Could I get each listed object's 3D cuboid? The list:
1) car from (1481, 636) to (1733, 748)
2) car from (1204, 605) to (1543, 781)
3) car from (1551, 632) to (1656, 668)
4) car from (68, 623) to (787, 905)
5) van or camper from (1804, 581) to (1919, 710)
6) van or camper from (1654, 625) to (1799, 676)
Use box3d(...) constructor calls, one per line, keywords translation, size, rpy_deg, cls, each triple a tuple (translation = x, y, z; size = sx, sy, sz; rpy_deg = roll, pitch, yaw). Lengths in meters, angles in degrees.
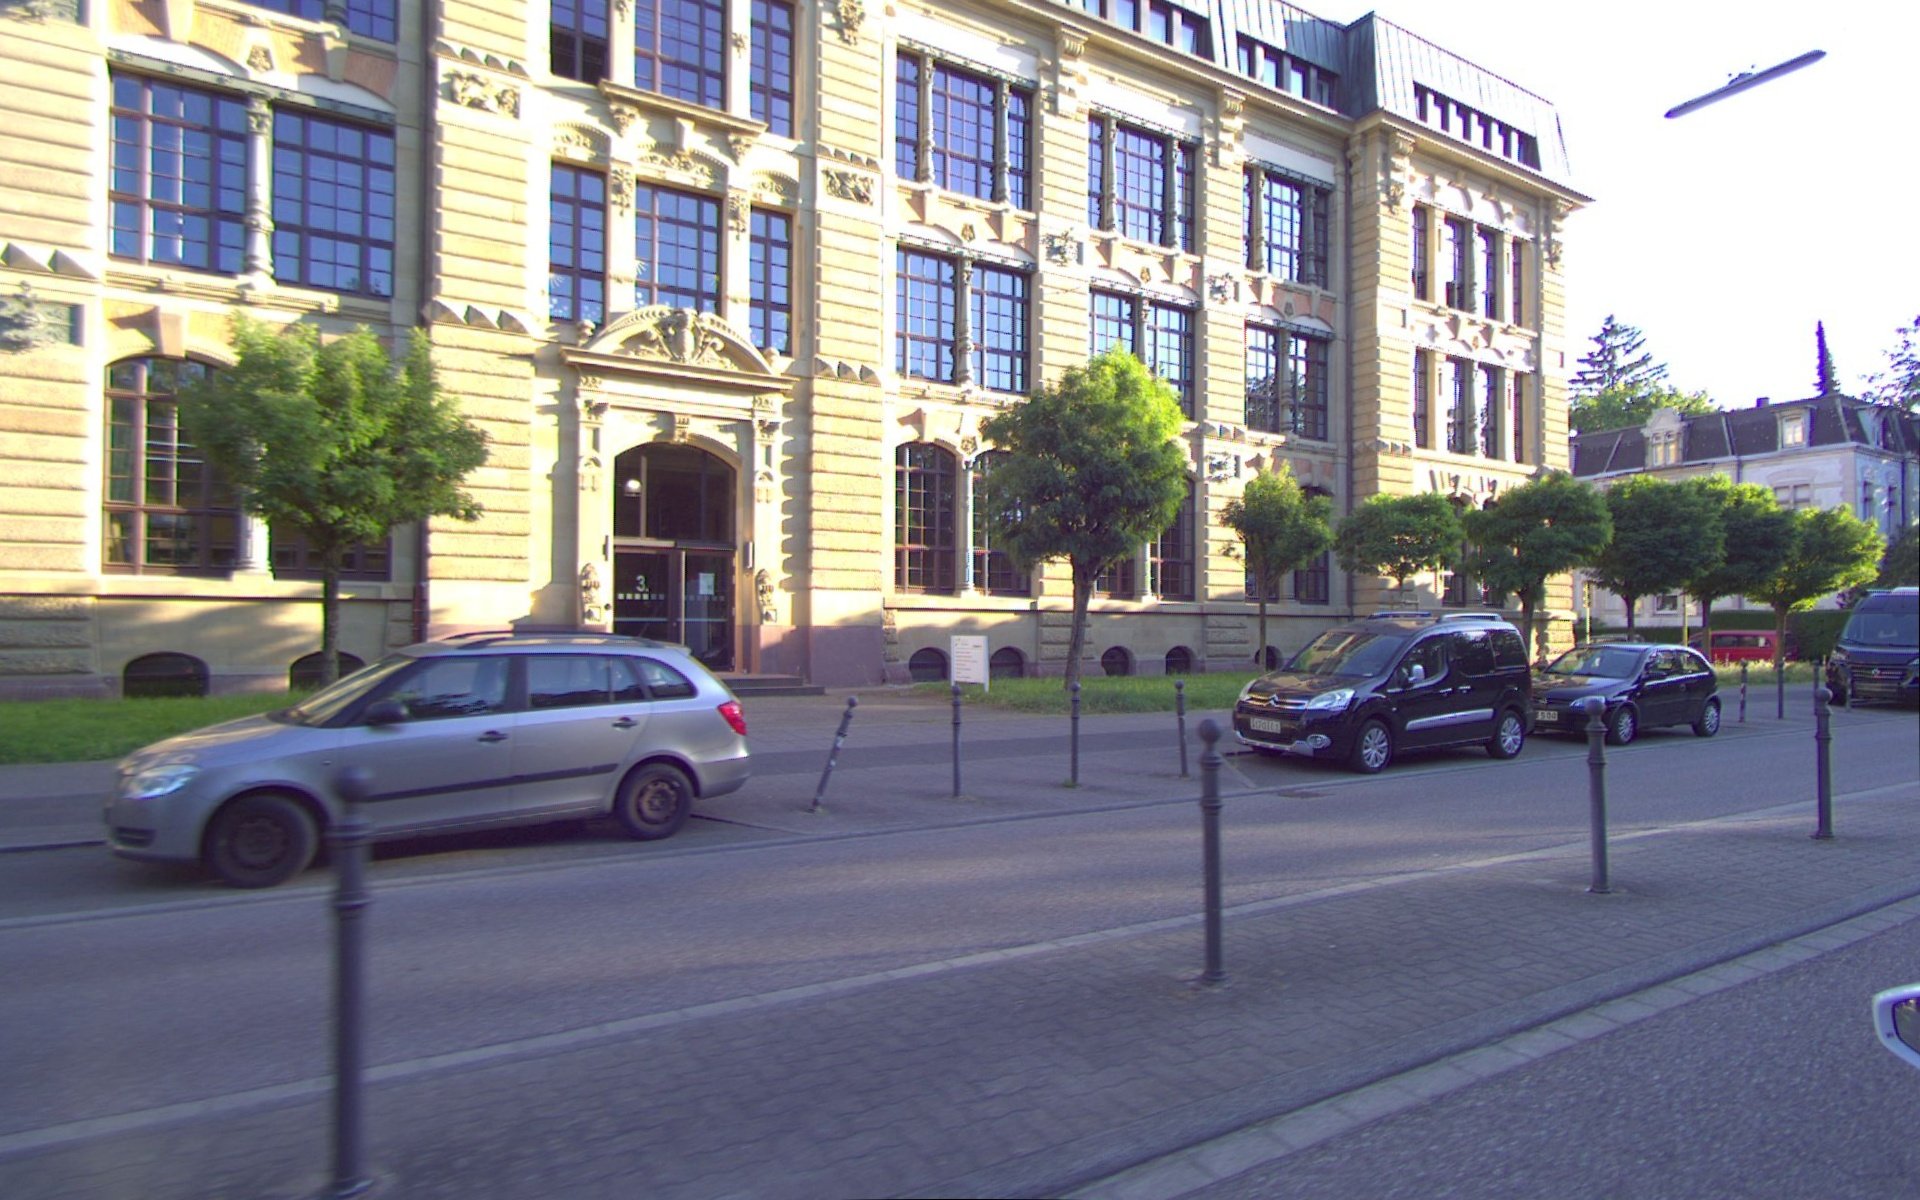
box3d(translation=(10.079, 1.351, 15.615), size=(3.807, 1.490, 1.689), rpy_deg=(2, 0, -29), cls="car")
box3d(translation=(5.339, 1.061, 12.842), size=(4.282, 1.891, 1.768), rpy_deg=(1, 1, -31), cls="car")
box3d(translation=(31.663, 2.427, 49.531), size=(1.899, 1.695, 3.965), rpy_deg=(1, -2, -32), cls="car")
box3d(translation=(-3.658, 0.978, 7.554), size=(4.333, 1.516, 1.707), rpy_deg=(1, 0, -35), cls="car")
box3d(translation=(21.811, 1.003, 22.587), size=(7.000, 2.578, 2.218), rpy_deg=(2, -1, -31), cls="van or camper")
box3d(translation=(34.339, 2.217, 45.146), size=(1.975, 2.012, 4.750), rpy_deg=(-4, 0, -28), cls="van or camper")
